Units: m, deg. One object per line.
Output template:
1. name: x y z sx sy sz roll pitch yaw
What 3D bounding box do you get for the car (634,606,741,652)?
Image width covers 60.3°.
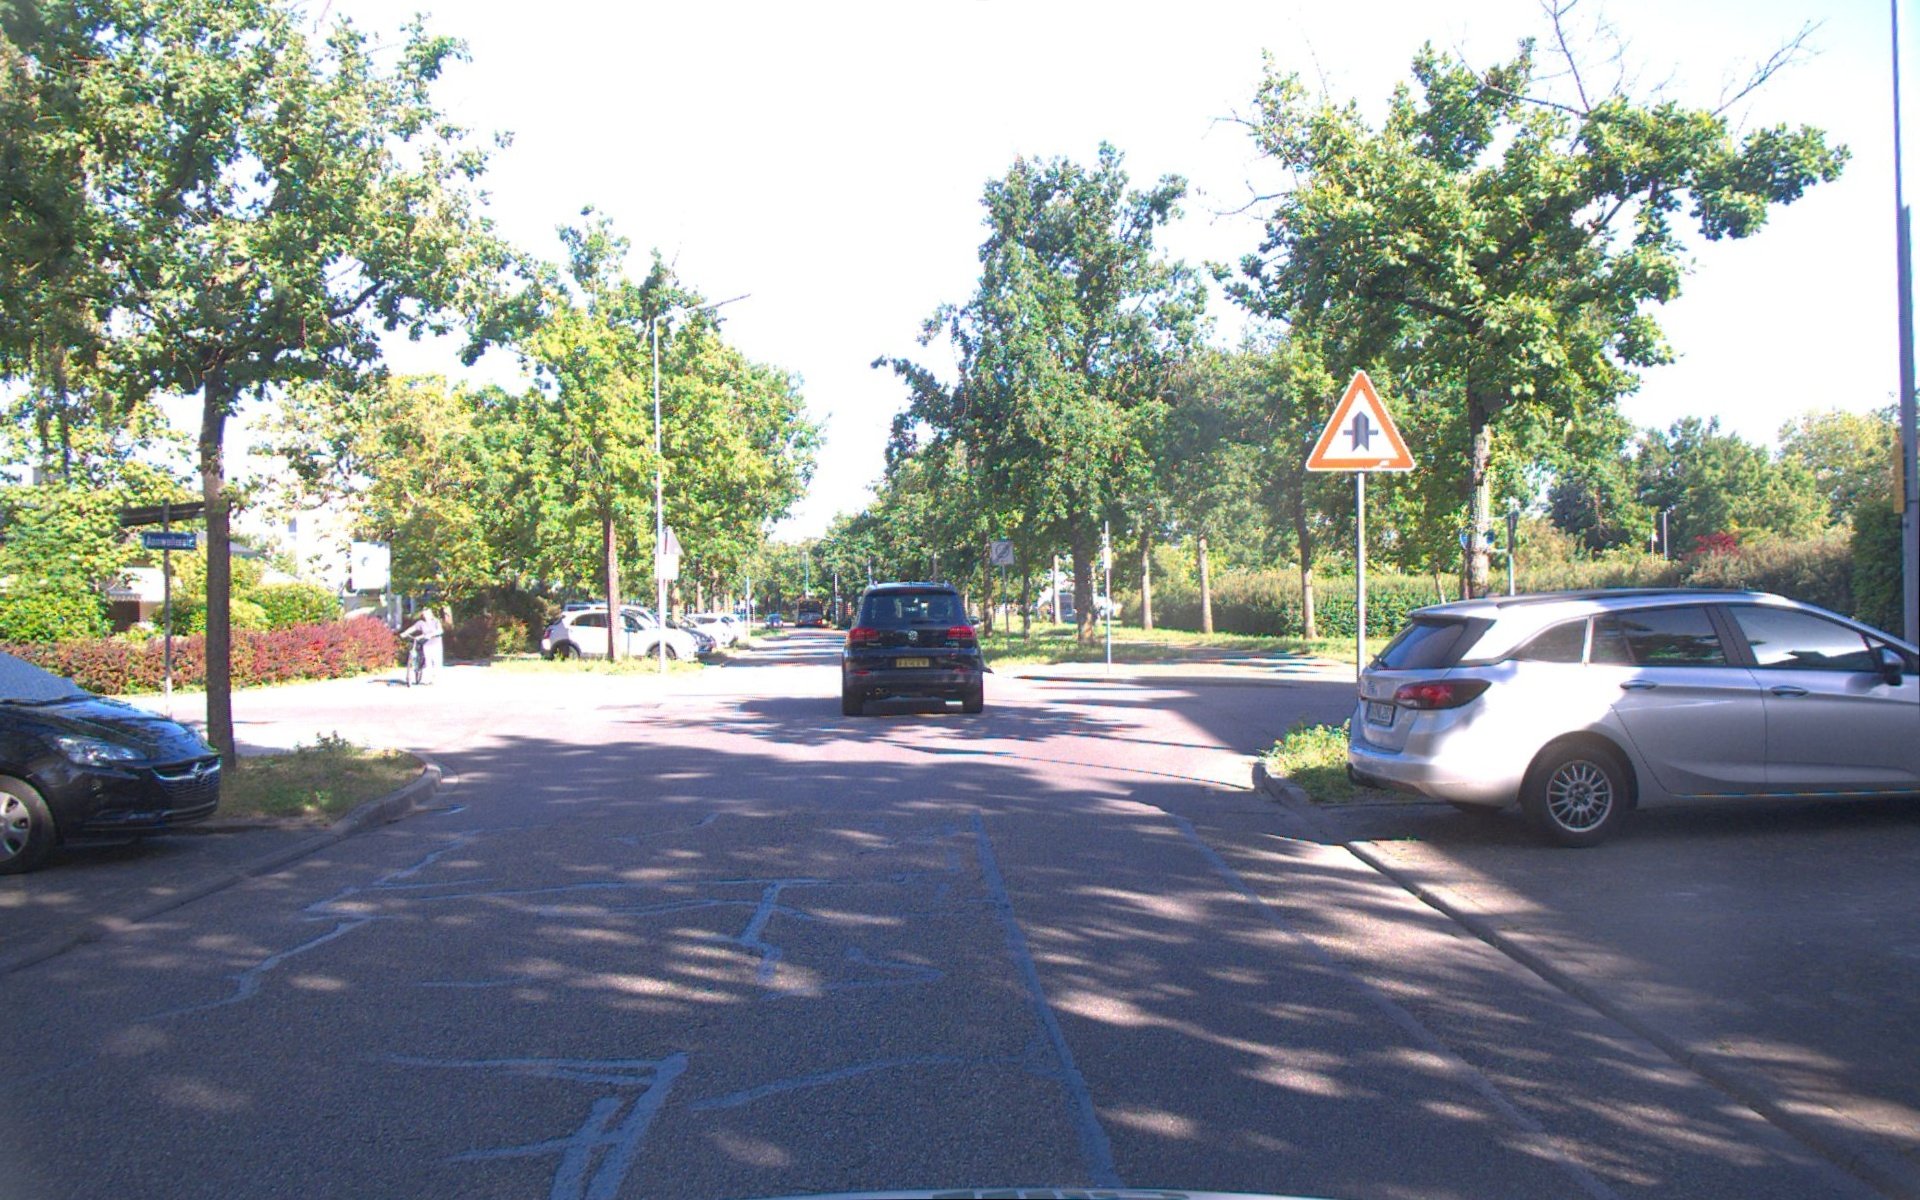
1. car: -10.693 1.146 65.082 3.937 1.676 1.809 -1 -1 -4

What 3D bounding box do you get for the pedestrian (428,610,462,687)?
1. pedestrian: -10.715 0.999 34.437 0.432 1.584 0.801 -1 -1 -1

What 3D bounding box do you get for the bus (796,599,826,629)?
1. bus: -15.622 1.465 174.113 2.870 3.056 5.732 -1 -1 -3

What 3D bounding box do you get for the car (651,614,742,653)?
1. car: -11.997 1.528 75.506 3.937 1.676 1.809 -1 -1 -4

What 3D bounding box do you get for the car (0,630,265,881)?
1. car: -6.828 0.960 10.878 3.778 1.484 1.713 0 0 1

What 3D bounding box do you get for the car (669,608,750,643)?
1. car: -13.006 1.323 86.039 3.937 1.676 1.809 -2 0 -4

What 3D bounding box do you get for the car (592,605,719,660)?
1. car: -10.103 1.057 55.088 3.937 1.676 1.895 -2 0 -4

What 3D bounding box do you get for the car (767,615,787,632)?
1. car: -18.971 2.448 171.224 1.816 1.723 3.952 -1 -1 -4

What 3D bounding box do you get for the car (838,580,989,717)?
1. car: -0.536 0.604 22.209 1.800 1.665 3.958 0 0 2

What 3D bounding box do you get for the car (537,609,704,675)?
1. car: -9.125 1.122 44.744 4.158 1.651 1.895 -1 -1 -4

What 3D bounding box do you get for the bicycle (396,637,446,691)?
1. bicycle: -11.148 1.307 34.254 0.438 1.057 1.892 -1 -1 -1

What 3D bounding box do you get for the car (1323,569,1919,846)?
1. car: 4.733 0.610 10.672 4.339 1.517 1.796 -2 0 -2

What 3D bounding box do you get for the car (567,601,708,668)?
1. car: -9.729 1.025 50.141 3.937 1.872 1.895 -2 0 -4
